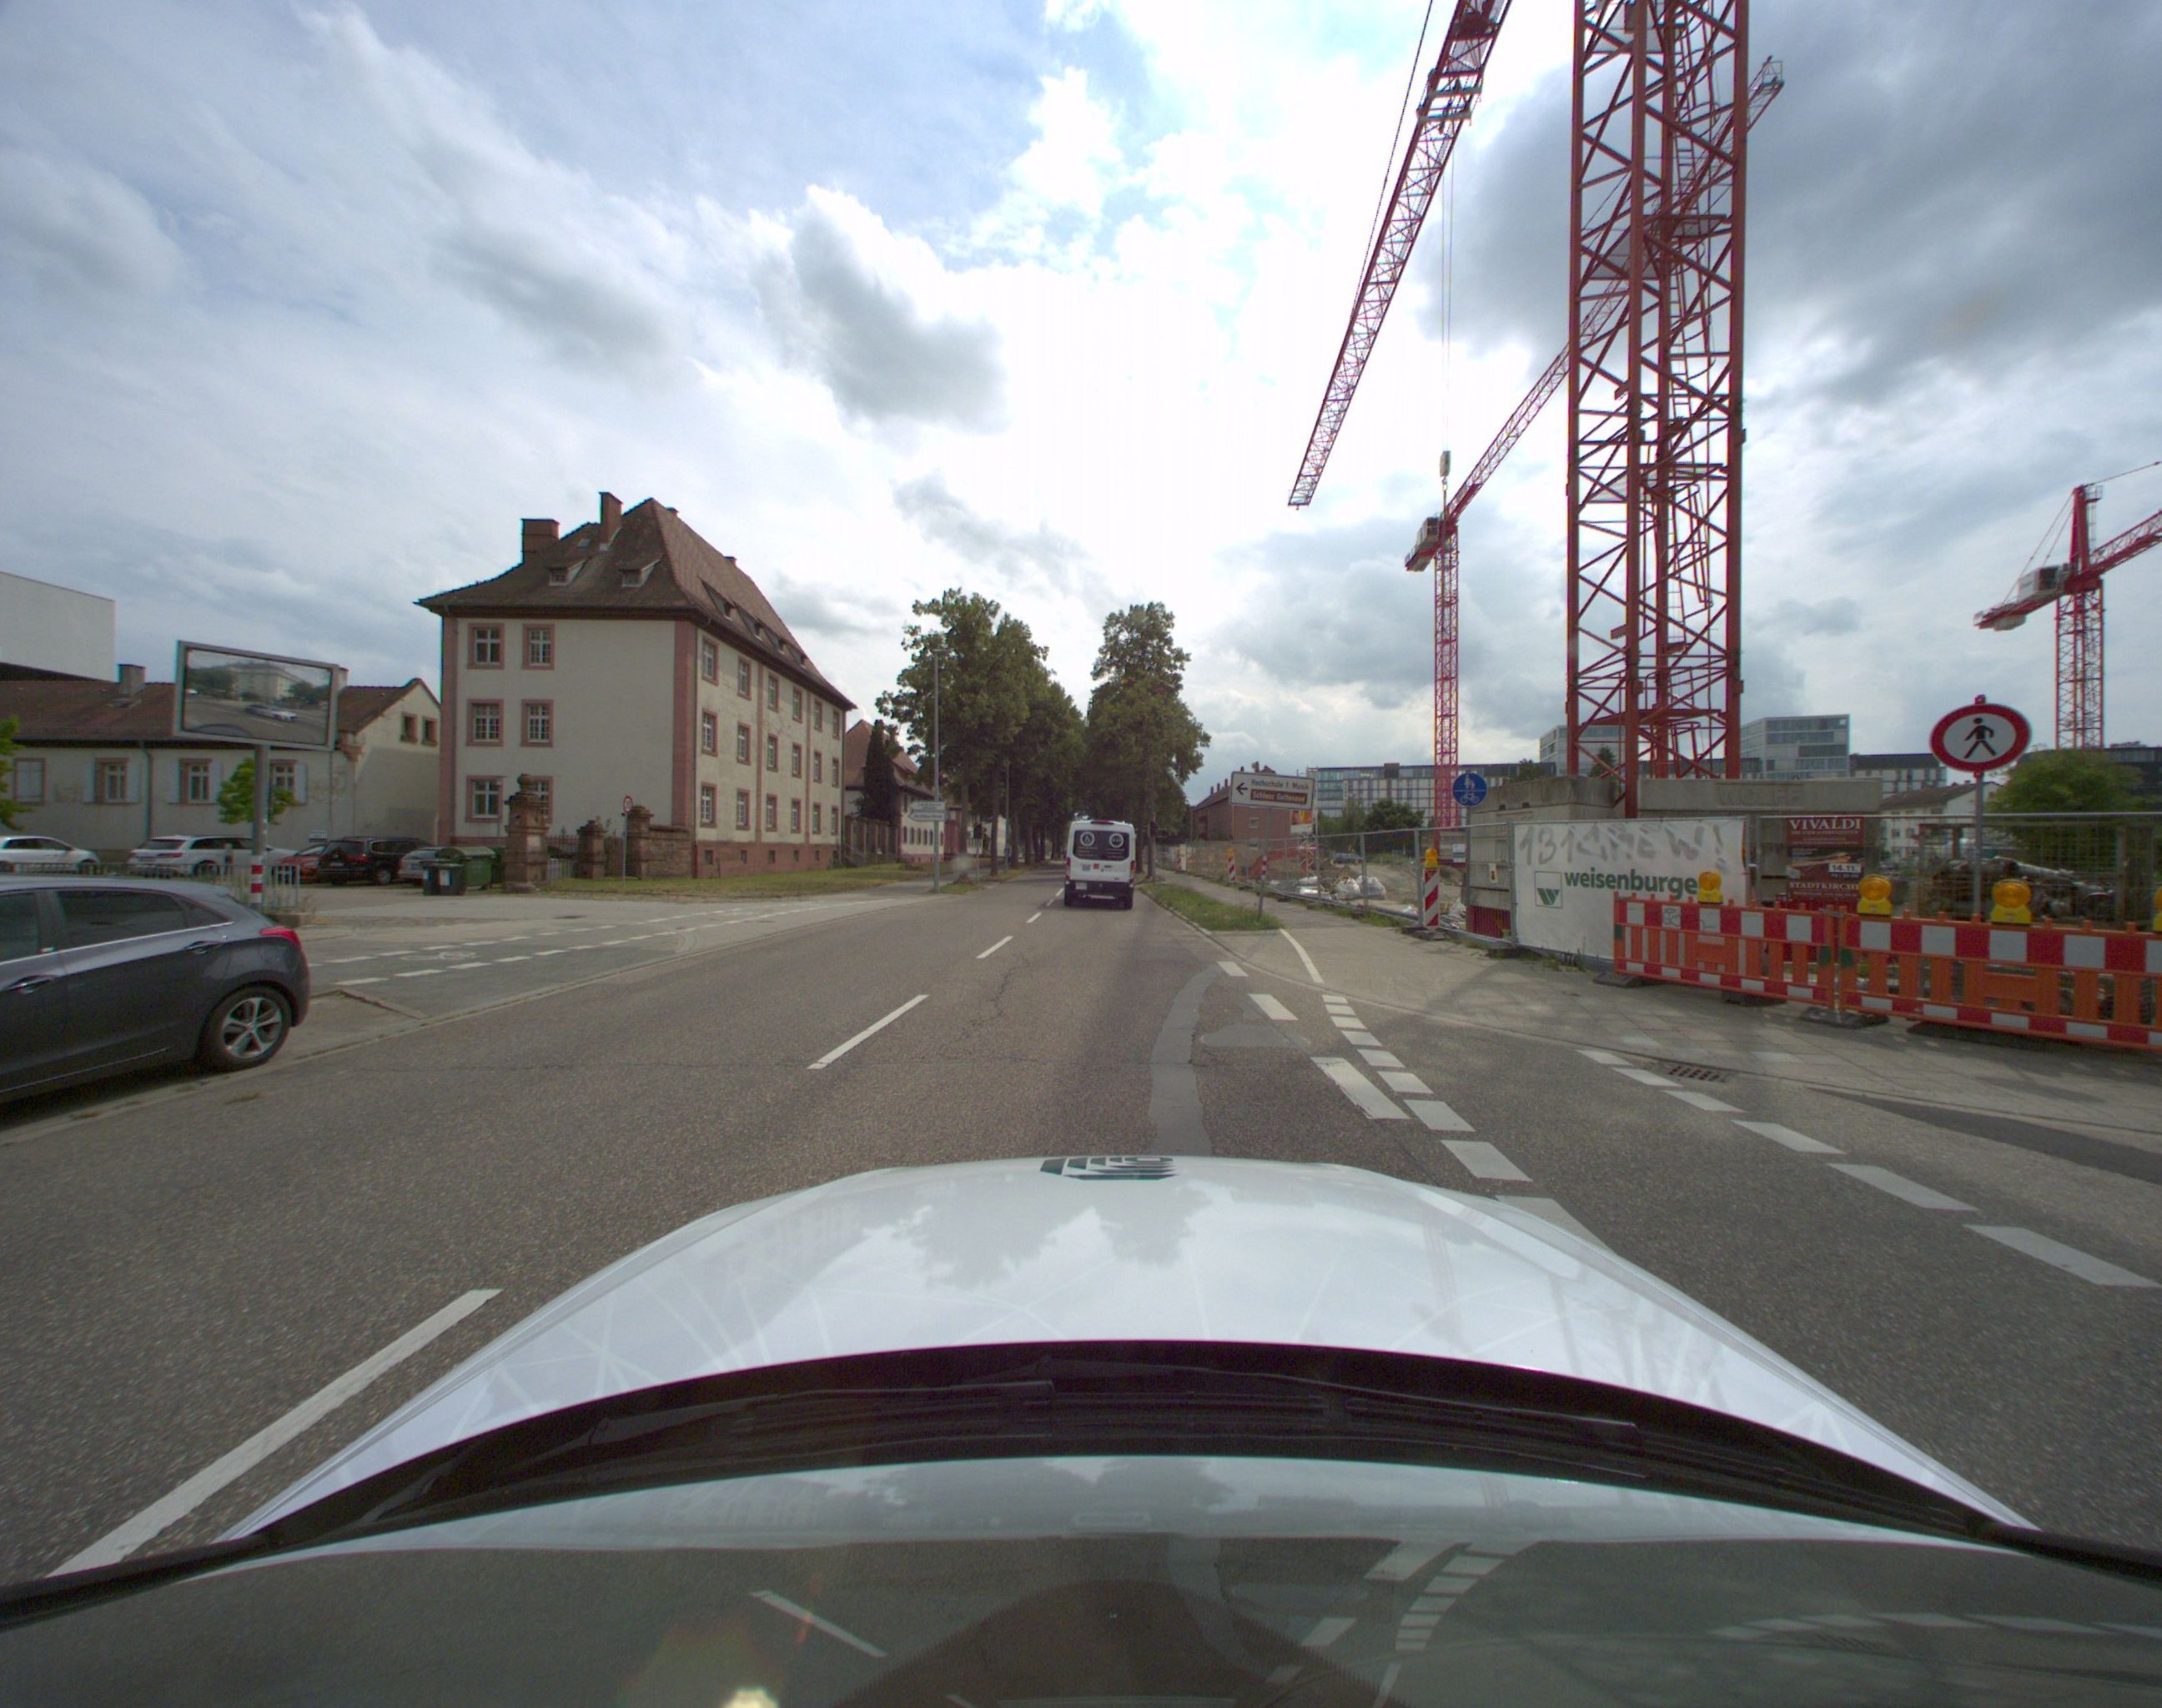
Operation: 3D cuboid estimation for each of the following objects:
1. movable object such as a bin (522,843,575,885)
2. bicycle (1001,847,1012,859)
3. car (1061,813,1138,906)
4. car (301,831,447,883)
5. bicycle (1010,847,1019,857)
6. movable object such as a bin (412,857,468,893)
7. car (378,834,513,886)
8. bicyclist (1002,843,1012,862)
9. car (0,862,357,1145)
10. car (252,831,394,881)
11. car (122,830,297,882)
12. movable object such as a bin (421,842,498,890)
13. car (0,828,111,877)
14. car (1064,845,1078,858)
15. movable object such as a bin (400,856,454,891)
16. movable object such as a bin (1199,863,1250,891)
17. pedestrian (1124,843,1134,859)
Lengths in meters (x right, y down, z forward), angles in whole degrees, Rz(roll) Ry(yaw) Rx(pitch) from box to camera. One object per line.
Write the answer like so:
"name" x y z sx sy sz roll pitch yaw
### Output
"movable object such as a bin" -19.279 0.353 29.548 1.334 1.468 1.558 1 0 -24
"bicycle" -6.842 -0.097 75.158 0.720 1.095 2.151 5 0 0
"car" 0.467 0.164 24.712 2.058 2.540 3.996 1 0 -3
"car" -25.795 0.054 29.919 1.760 1.710 3.961 1 3 2
"bicycle" -8.018 -0.270 98.248 0.720 1.095 2.225 5 0 0
"movable object such as a bin" -18.640 0.600 23.692 1.034 1.033 0.710 1 0 1
"car" -23.190 0.152 29.931 1.760 1.710 3.961 1 3 2
"bicyclist" -6.842 -0.164 75.176 0.720 1.656 0.958 5 0 0
"car" -6.946 0.856 4.629 1.817 1.473 4.295 3 0 -2
"car" -28.195 0.016 30.470 1.760 1.710 3.699 1 3 2
"car" -32.223 -0.004 30.322 1.760 1.710 4.293 1 3 2
"movable object such as a bin" -19.710 0.365 25.866 1.197 1.468 1.571 1 0 2
"car" -39.838 -0.094 30.810 1.760 1.710 3.699 1 3 2
"car" -1.345 -0.352 112.084 1.765 1.659 4.258 -2 -1 2
"movable object such as a bin" -19.673 0.570 24.510 1.034 1.033 0.710 1 0 1
"movable object such as a bin" 14.004 2.265 79.426 4.648 2.590 3.145 -1 0 14
"pedestrian" 5.303 -0.322 90.304 0.875 1.814 0.893 -1 -1 19
